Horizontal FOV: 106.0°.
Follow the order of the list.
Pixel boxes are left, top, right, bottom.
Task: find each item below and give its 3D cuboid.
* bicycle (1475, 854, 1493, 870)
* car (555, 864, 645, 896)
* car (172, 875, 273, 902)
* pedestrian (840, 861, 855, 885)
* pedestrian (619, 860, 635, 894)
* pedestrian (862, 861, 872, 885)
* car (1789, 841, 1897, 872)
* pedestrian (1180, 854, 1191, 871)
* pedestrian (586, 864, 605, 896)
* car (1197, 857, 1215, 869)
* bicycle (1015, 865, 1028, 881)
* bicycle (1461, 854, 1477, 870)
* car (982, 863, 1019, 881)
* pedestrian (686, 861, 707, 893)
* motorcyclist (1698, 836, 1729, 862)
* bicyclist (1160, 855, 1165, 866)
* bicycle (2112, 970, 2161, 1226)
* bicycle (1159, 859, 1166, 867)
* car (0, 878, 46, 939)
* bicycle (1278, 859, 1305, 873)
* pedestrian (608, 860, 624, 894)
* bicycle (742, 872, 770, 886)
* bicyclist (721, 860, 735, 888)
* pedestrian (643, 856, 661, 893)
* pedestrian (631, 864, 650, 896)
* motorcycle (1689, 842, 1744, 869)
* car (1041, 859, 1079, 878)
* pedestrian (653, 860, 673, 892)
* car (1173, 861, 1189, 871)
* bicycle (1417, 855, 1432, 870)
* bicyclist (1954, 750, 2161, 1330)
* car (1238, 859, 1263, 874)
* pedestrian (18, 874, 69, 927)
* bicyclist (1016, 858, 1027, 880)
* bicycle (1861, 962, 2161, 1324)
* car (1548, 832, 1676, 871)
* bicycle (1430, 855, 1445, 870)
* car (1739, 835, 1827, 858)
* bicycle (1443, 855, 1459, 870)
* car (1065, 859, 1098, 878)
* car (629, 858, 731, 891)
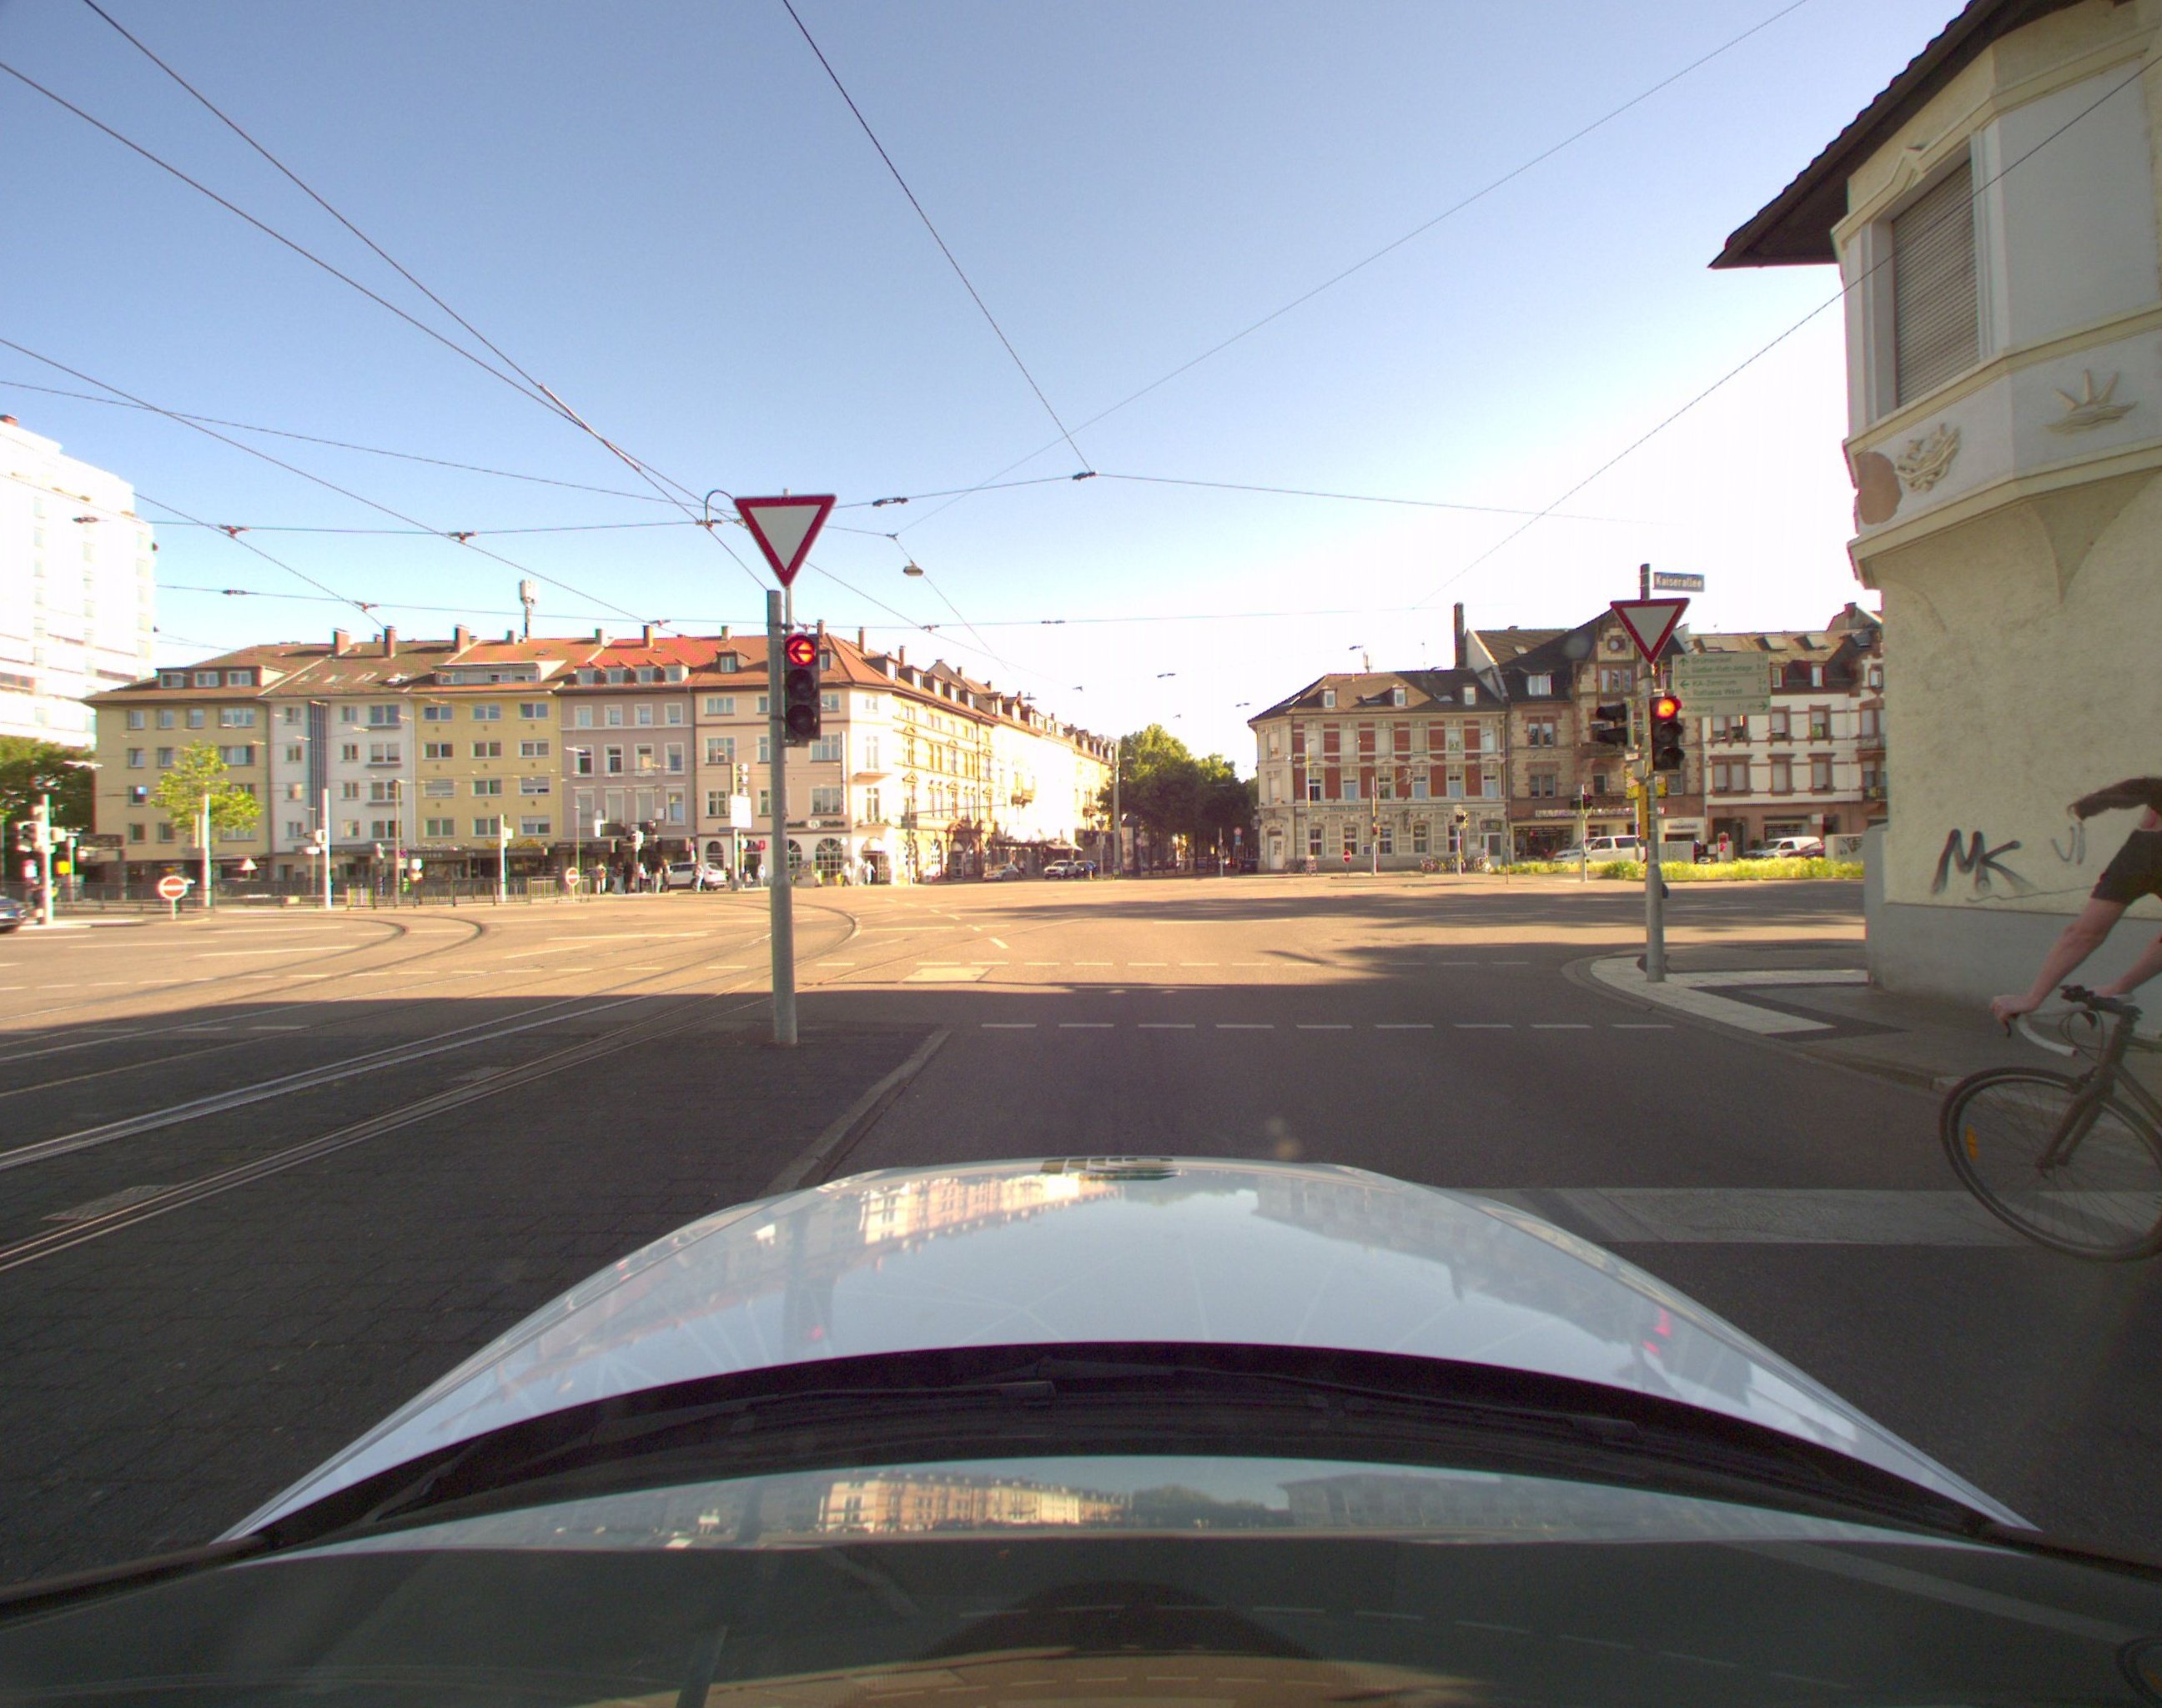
[{"bbox_3d":[26.025,0.527,52.649,0.785,1.016,2.221,-1,-1,20],"label":"bicycle"},{"bbox_3d":[-28.440,1.528,48.211,4.213,1.773,1.818,0,-1,1],"label":"car"},{"bbox_3d":[-47.867,1.924,45.466,3.777,1.403,1.699,0,-1,-1],"label":"car"},{"bbox_3d":[-15.846,1.298,55.264,0.562,1.642,0.797,-1,-1,25],"label":"pedestrian"},{"bbox_3d":[-22.571,1.137,40.484,0.520,1.648,0.498,0,-1,1],"label":"pedestrian"},{"bbox_3d":[-15.233,1.324,57.944,0.585,1.676,0.498,0,-1,1],"label":"pedestrian"},{"bbox_3d":[38.064,0.122,40.728,3.854,1.426,1.596,-1,0,2],"label":"car"},{"bbox_3d":[12.989,1.044,101.156,0.967,2.014,0.910,0,-1,-30],"label":"pedestrian"},{"bbox_3d":[-25.074,1.333,42.090,0.582,1.648,0.616,0,-1,1],"label":"pedestrian"},{"bbox_3d":[17.879,1.342,116.367,1.978,1.684,4.018,-1,-1,17],"label":"car"},{"bbox_3d":[-4.771,1.483,65.343,0.561,1.254,1.564,-1,-1,17],"label":"bicycle"},{"bbox_3d":[25.178,0.535,52.841,0.758,1.007,2.231,-1,-1,20],"label":"bicycle"},{"bbox_3d":[-6.608,1.471,67.379,1.647,1.374,3.909,-1,-1,17],"label":"car"},{"bbox_3d":[-19.828,1.175,42.004,0.666,1.594,0.815,0,-1,1],"label":"pedestrian"},{"bbox_3d":[32.242,-0.258,41.521,1.009,1.300,0.790,0,-1,6],"label":"motorcyclist"},{"bbox_3d":[11.865,0.928,118.566,0.668,1.568,0.751,-1,-1,20],"label":"bicyclist"},{"bbox_3d":[4.458,0.958,2.442,0.501,0.983,1.783,0,-1,2],"label":"bicycle"},{"bbox_3d":[11.868,1.318,118.559,0.668,1.207,1.831,-1,-1,20],"label":"bicycle"},{"bbox_3d":[-30.462,1.472,21.451,4.168,1.575,1.833,-1,0,3],"label":"car"},{"bbox_3d":[14.708,0.823,56.916,1.789,0.963,0.606,-1,-1,16],"label":"bicycle"},{"bbox_3d":[-23.185,1.142,40.589,0.520,1.648,0.498,0,-1,1],"label":"pedestrian"},{"bbox_3d":[-22.988,1.752,57.599,1.694,0.983,0.611,0,-1,1],"label":"bicycle"},{"bbox_3d":[-22.973,1.293,52.948,0.618,1.790,0.616,0,-1,7],"label":"bicyclist"},{"bbox_3d":[-21.594,1.034,41.011,0.525,1.823,0.677,0,-1,1],"label":"pedestrian"},{"bbox_3d":[-22.906,1.326,42.324,0.571,1.648,0.727,0,-1,1],"label":"pedestrian"},{"bbox_3d":[32.375,0.086,41.502,2.124,1.333,0.798,0,-1,6],"label":"motorcycle"},{"bbox_3d":[-1.681,1.174,67.474,1.788,1.585,4.179,-1,-1,19],"label":"car"},{"bbox_3d":[-21.562,1.111,42.046,0.580,1.648,0.840,0,-1,1],"label":"pedestrian"},{"bbox_3d":[15.403,1.804,125.537,1.788,1.575,3.908,-1,-1,17],"label":"car"},{"bbox_3d":[22.505,0.571,53.355,0.758,0.963,2.221,-1,-1,20],"label":"bicycle"},{"bbox_3d":[3.583,0.566,2.594,0.587,1.767,0.936,0,-1,2],"label":"bicyclist"},{"bbox_3d":[17.147,1.248,82.225,1.741,1.556,4.021,-1,-1,22],"label":"car"},{"bbox_3d":[-31.963,1.419,25.089,0.607,1.609,0.768,-1,-1,13],"label":"pedestrian"},{"bbox_3d":[-4.780,1.206,65.353,0.561,1.804,0.918,-1,-1,17],"label":"bicyclist"},{"bbox_3d":[3.588,0.958,2.621,0.480,0.991,1.783,0,-1,2],"label":"bicycle"},{"bbox_3d":[27.188,-0.102,41.817,5.175,1.854,2.002,-1,0,4],"label":"car"},{"bbox_3d":[23.260,0.564,53.088,0.758,0.968,2.221,-1,-1,20],"label":"bicycle"},{"bbox_3d":[45.136,-0.449,52.435,3.961,1.438,1.874,0,-1,5],"label":"car"},{"bbox_3d":[24.047,0.557,52.965,0.758,0.983,2.221,-1,-1,20],"label":"bicycle"},{"bbox_3d":[0.070,1.285,73.771,1.809,1.685,3.893,-1,-1,18],"label":"car"},{"bbox_3d":[-22.150,1.116,45.138,4.665,1.734,1.833,0,-1,-4],"label":"car"}]
